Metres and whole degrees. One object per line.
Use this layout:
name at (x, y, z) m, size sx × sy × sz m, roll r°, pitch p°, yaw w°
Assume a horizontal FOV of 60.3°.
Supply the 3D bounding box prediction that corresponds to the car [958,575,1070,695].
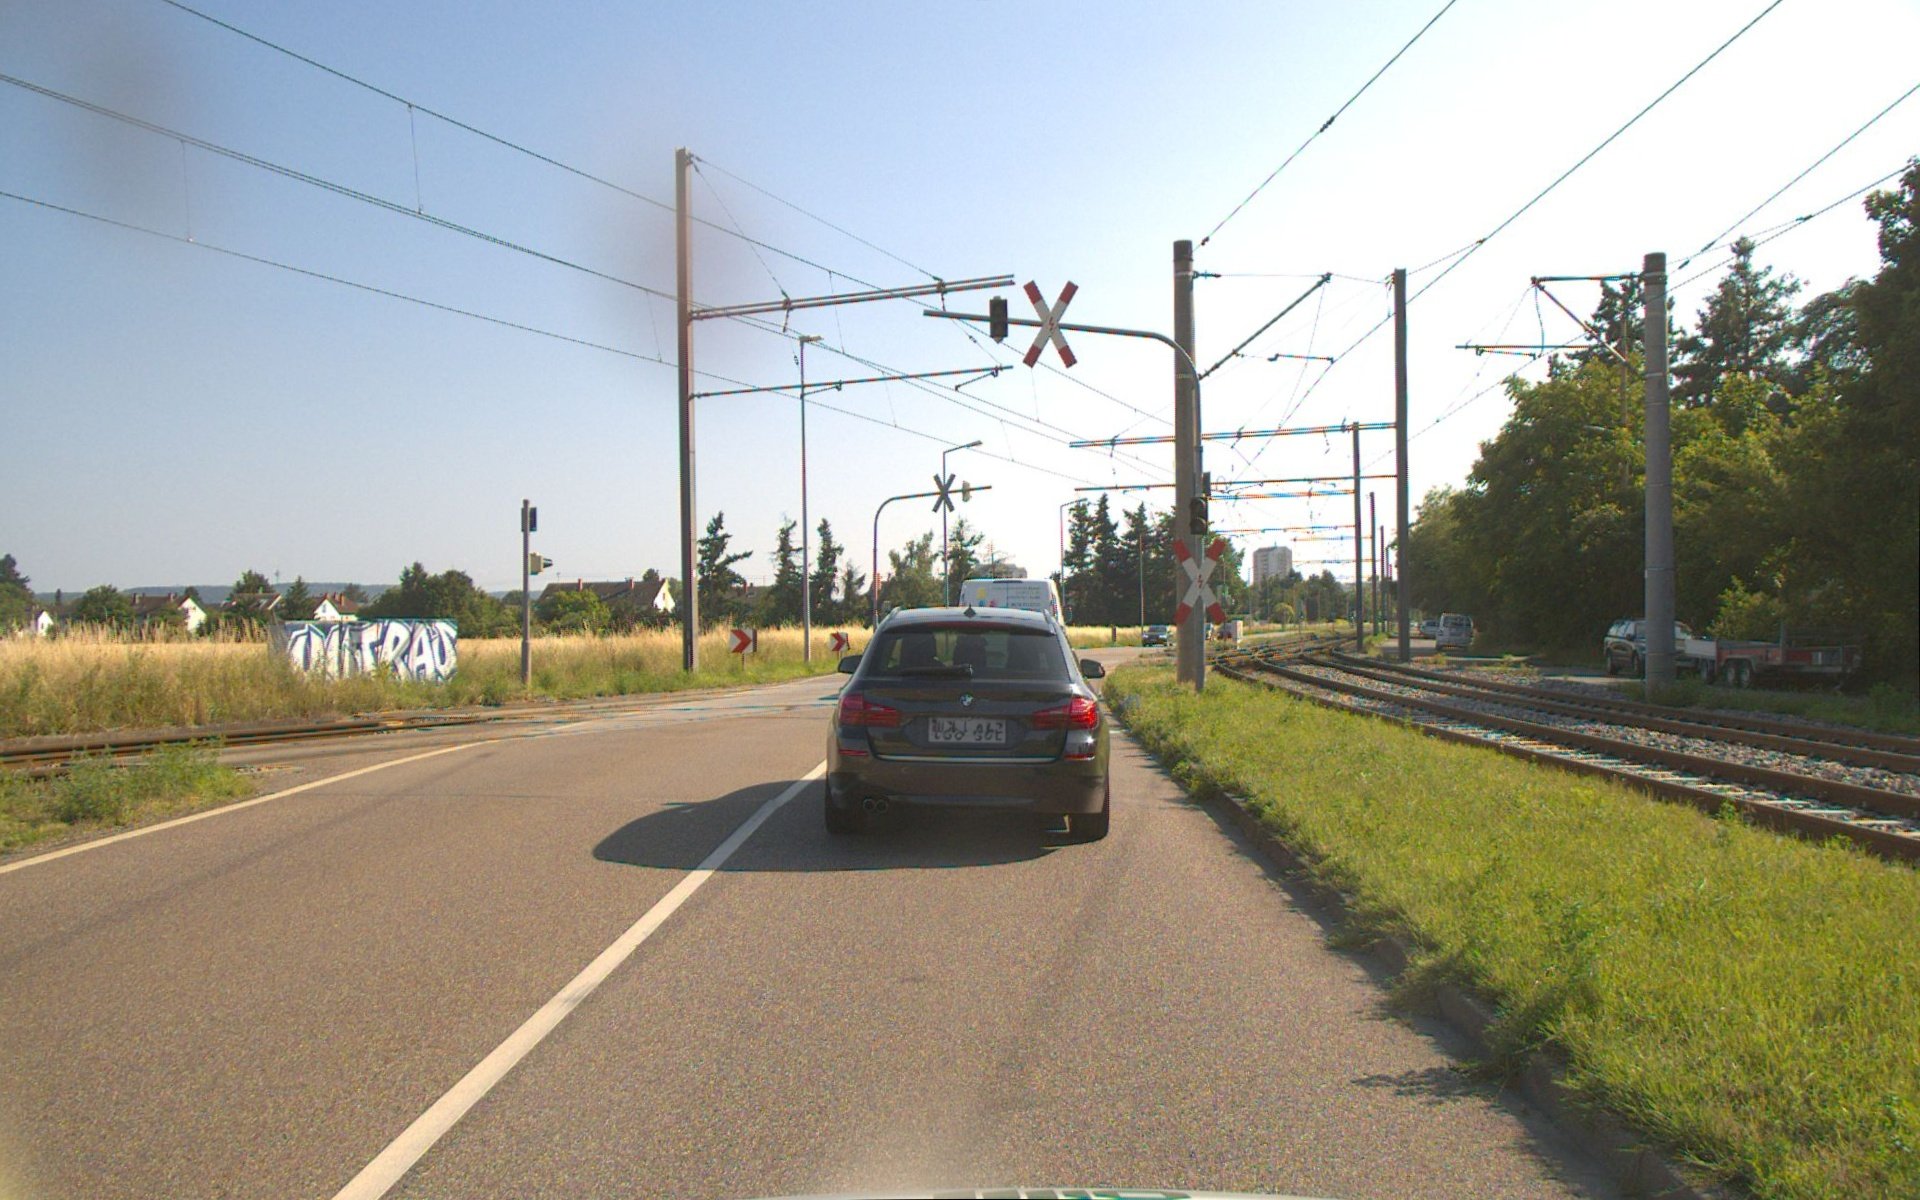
car at (1.077, 0.608, 30.455) m, size 1.818 × 2.023 × 5.110 m, roll 0°, pitch -1°, yaw 5°

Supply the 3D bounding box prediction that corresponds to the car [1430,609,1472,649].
car at (26.673, 1.591, 89.983) m, size 1.951 × 2.039 × 5.070 m, roll 2°, pitch -1°, yaw 14°

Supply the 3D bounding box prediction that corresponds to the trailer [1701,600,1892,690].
trailer at (16.638, 0.870, 33.148) m, size 1.984 × 1.624 × 4.262 m, roll 2°, pitch -1°, yaw 5°

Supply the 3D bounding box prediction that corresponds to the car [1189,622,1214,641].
car at (21.337, 2.752, 145.828) m, size 1.670 × 1.694 × 4.593 m, roll 0°, pitch -1°, yaw 14°

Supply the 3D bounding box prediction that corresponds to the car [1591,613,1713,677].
car at (17.445, 1.089, 41.923) m, size 1.662 × 1.482 × 4.884 m, roll 2°, pitch 0°, yaw 8°

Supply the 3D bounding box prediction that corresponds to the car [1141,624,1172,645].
car at (13.867, 2.411, 116.464) m, size 1.657 × 1.465 × 4.287 m, roll 0°, pitch -1°, yaw 14°

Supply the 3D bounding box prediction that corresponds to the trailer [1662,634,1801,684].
trailer at (17.252, 1.290, 37.147) m, size 1.695 × 0.956 × 3.730 m, roll 2°, pitch -1°, yaw 6°

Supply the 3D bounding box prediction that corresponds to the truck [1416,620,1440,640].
truck at (46.108, 2.950, 162.994) m, size 2.157 × 1.851 × 5.933 m, roll -1°, pitch -1°, yaw 15°

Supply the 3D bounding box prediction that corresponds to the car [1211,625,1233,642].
car at (25.458, 3.268, 160.759) m, size 1.676 × 1.576 × 3.931 m, roll 0°, pitch -1°, yaw 16°

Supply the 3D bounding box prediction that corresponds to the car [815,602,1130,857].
car at (0.052, 0.758, 11.988) m, size 1.831 × 1.478 × 4.743 m, roll 0°, pitch 0°, yaw -1°
